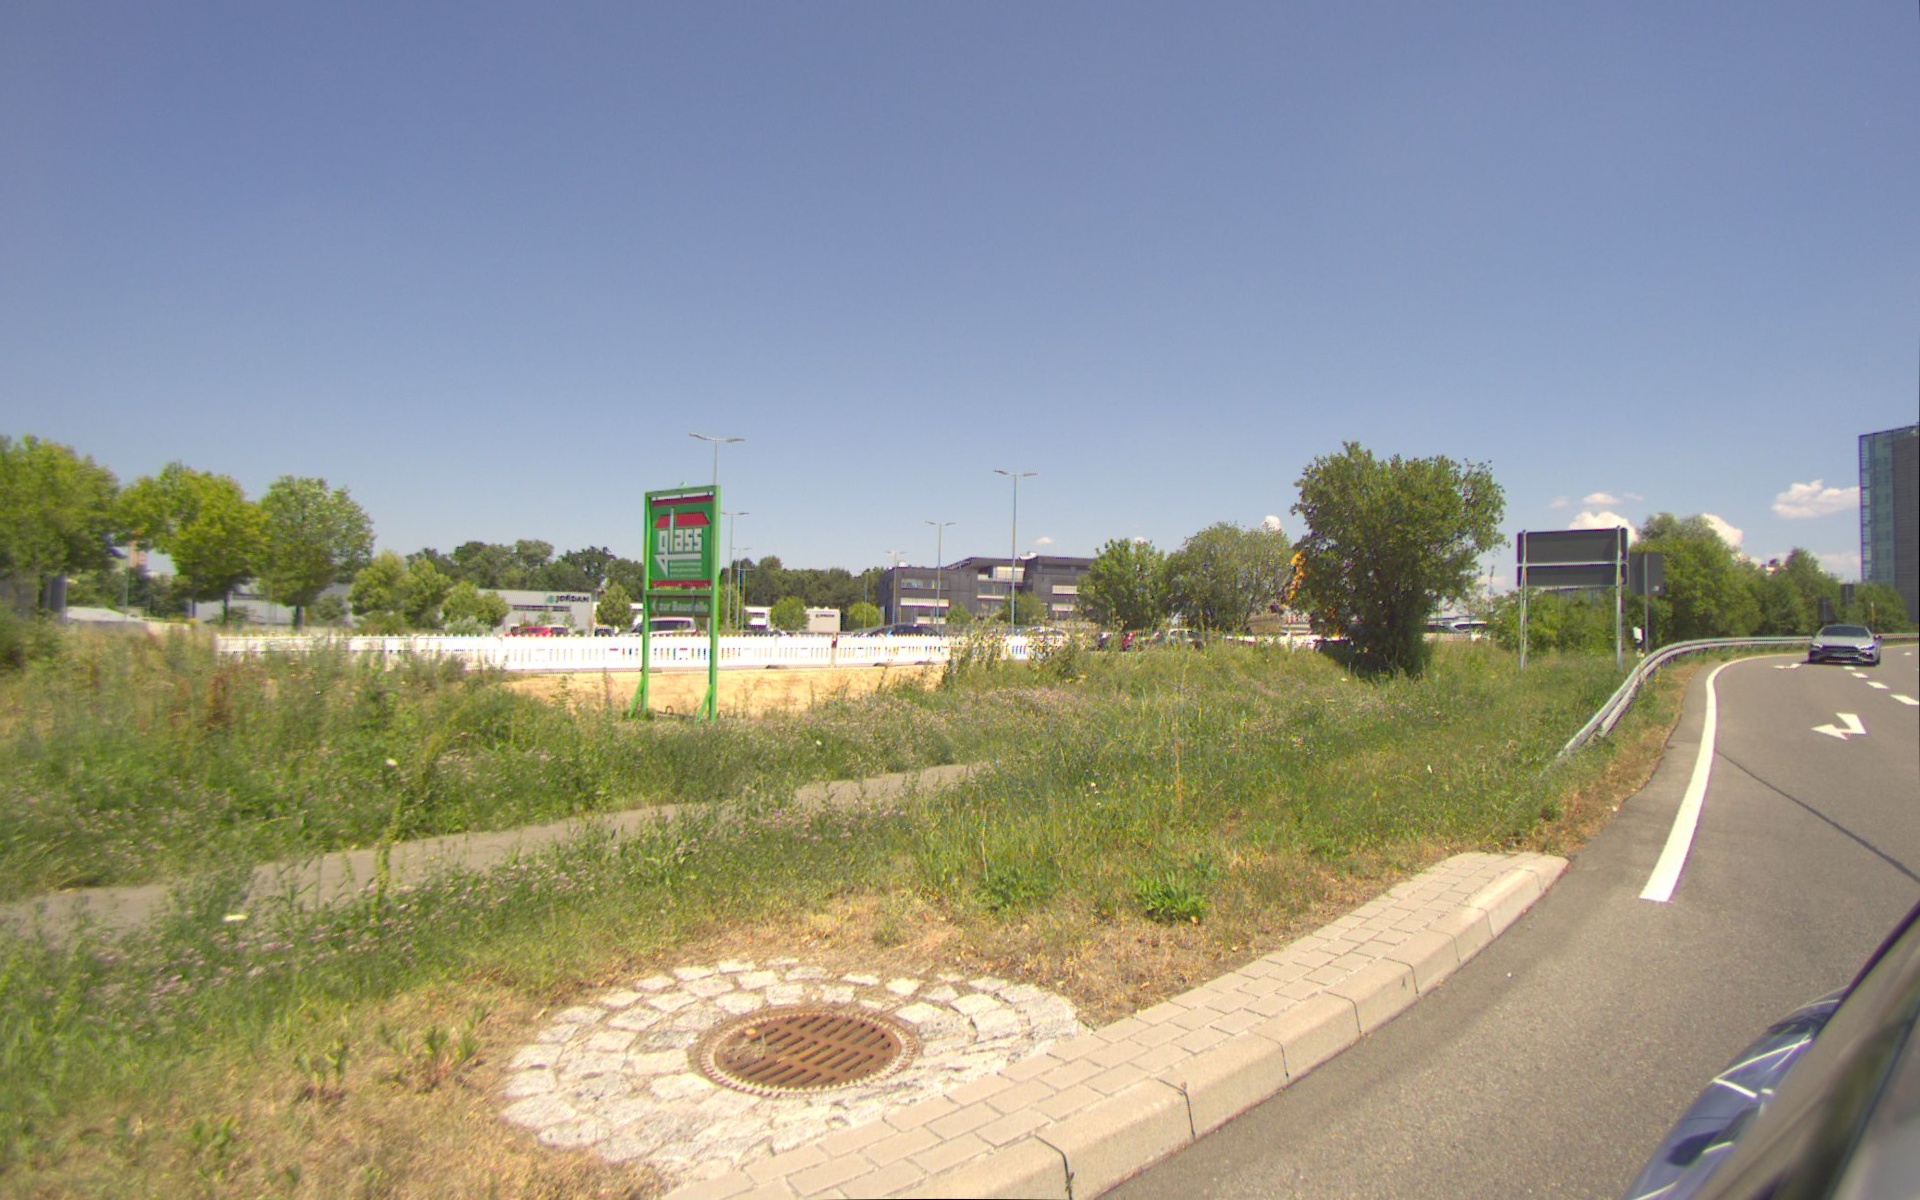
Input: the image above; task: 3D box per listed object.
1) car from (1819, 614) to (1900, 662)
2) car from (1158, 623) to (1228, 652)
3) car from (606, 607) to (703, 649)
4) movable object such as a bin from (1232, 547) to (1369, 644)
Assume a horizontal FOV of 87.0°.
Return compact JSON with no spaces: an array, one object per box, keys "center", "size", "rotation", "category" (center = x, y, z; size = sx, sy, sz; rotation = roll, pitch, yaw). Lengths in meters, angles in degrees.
[{"center":[32.455,1.392,36.480],"size":[1.918,1.460,4.407],"rotation":[2,-3,45],"category":"car"},{"center":[14.782,2.326,64.139],"size":[3.917,1.660,2.004],"rotation":[0,1,-23],"category":"car"},{"center":[-14.637,1.315,48.732],"size":[4.383,1.939,1.943],"rotation":[0,-1,-13],"category":"car"},{"center":[15.814,-0.243,46.626],"size":[2.978,4.095,7.979],"rotation":[0,1,43],"category":"movable object such as a bin"}]
